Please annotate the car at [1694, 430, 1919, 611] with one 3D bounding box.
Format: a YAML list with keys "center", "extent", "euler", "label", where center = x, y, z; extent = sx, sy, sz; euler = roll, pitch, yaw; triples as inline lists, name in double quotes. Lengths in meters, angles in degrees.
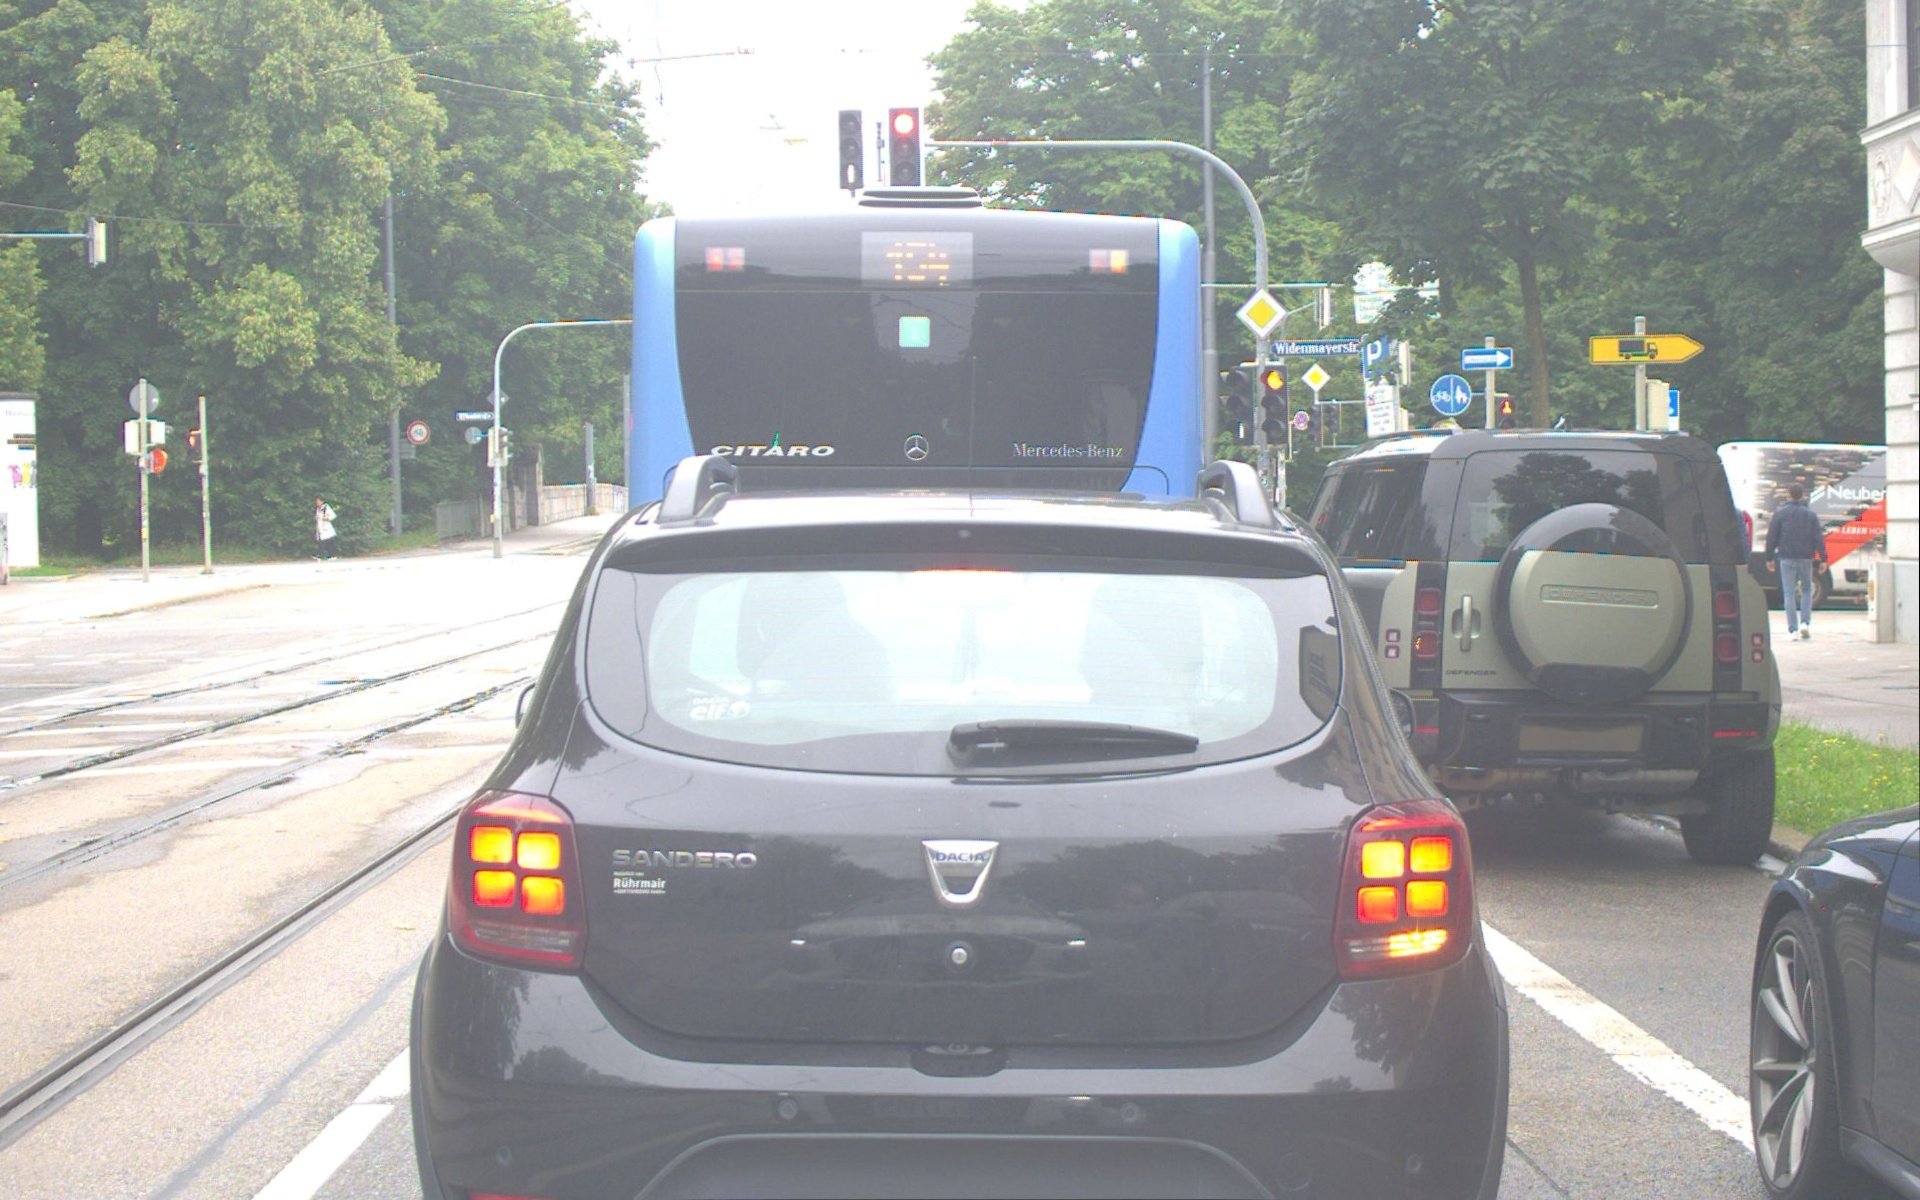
- center: [13.945, -1.160, 51.520]
  extent: [5.295, 2.603, 2.231]
  euler: [1, 1, -3]
  label: "car"

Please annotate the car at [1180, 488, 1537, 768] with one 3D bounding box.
- center: [2.444, 0.122, 22.065]
  extent: [1.714, 1.586, 4.327]
  euler: [1, 1, -1]
  label: "car"

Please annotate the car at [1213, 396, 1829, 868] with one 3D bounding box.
- center: [2.479, 0.090, 16.492]
  extent: [1.914, 1.899, 4.809]
  euler: [1, 1, -3]
  label: "car"

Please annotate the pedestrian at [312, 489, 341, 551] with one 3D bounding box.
- center: [-15.257, -1.924, 82.767]
  extent: [0.532, 1.496, 0.588]
  euler: [1, 1, 4]
  label: "pedestrian"

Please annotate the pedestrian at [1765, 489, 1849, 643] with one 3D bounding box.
- center: [9.677, -0.391, 39.289]
  extent: [0.705, 1.726, 0.843]
  euler: [1, 1, -1]
  label: "pedestrian"

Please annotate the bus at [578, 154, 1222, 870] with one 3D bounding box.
- center: [-0.397, -0.435, 18.088]
  extent: [2.678, 2.987, 6.962]
  euler: [1, 1, -2]
  label: "bus"

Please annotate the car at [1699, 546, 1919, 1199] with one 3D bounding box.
- center: [2.667, 0.644, 5.843]
  extent: [1.716, 1.421, 4.603]
  euler: [1, 1, -1]
  label: "car"

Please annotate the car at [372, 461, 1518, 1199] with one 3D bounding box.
- center: [-0.060, 0.562, 6.627]
  extent: [1.600, 1.551, 3.525]
  euler: [1, 1, -1]
  label: "car"

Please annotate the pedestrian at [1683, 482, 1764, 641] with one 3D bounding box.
- center: [8.860, -0.447, 39.916]
  extent: [0.705, 1.810, 0.870]
  euler: [1, 1, -1]
  label: "pedestrian"

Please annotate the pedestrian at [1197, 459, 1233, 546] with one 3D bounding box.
- center: [6.287, -2.409, 84.881]
  extent: [0.762, 2.109, 0.853]
  euler: [-1, 2, 0]
  label: "pedestrian"
